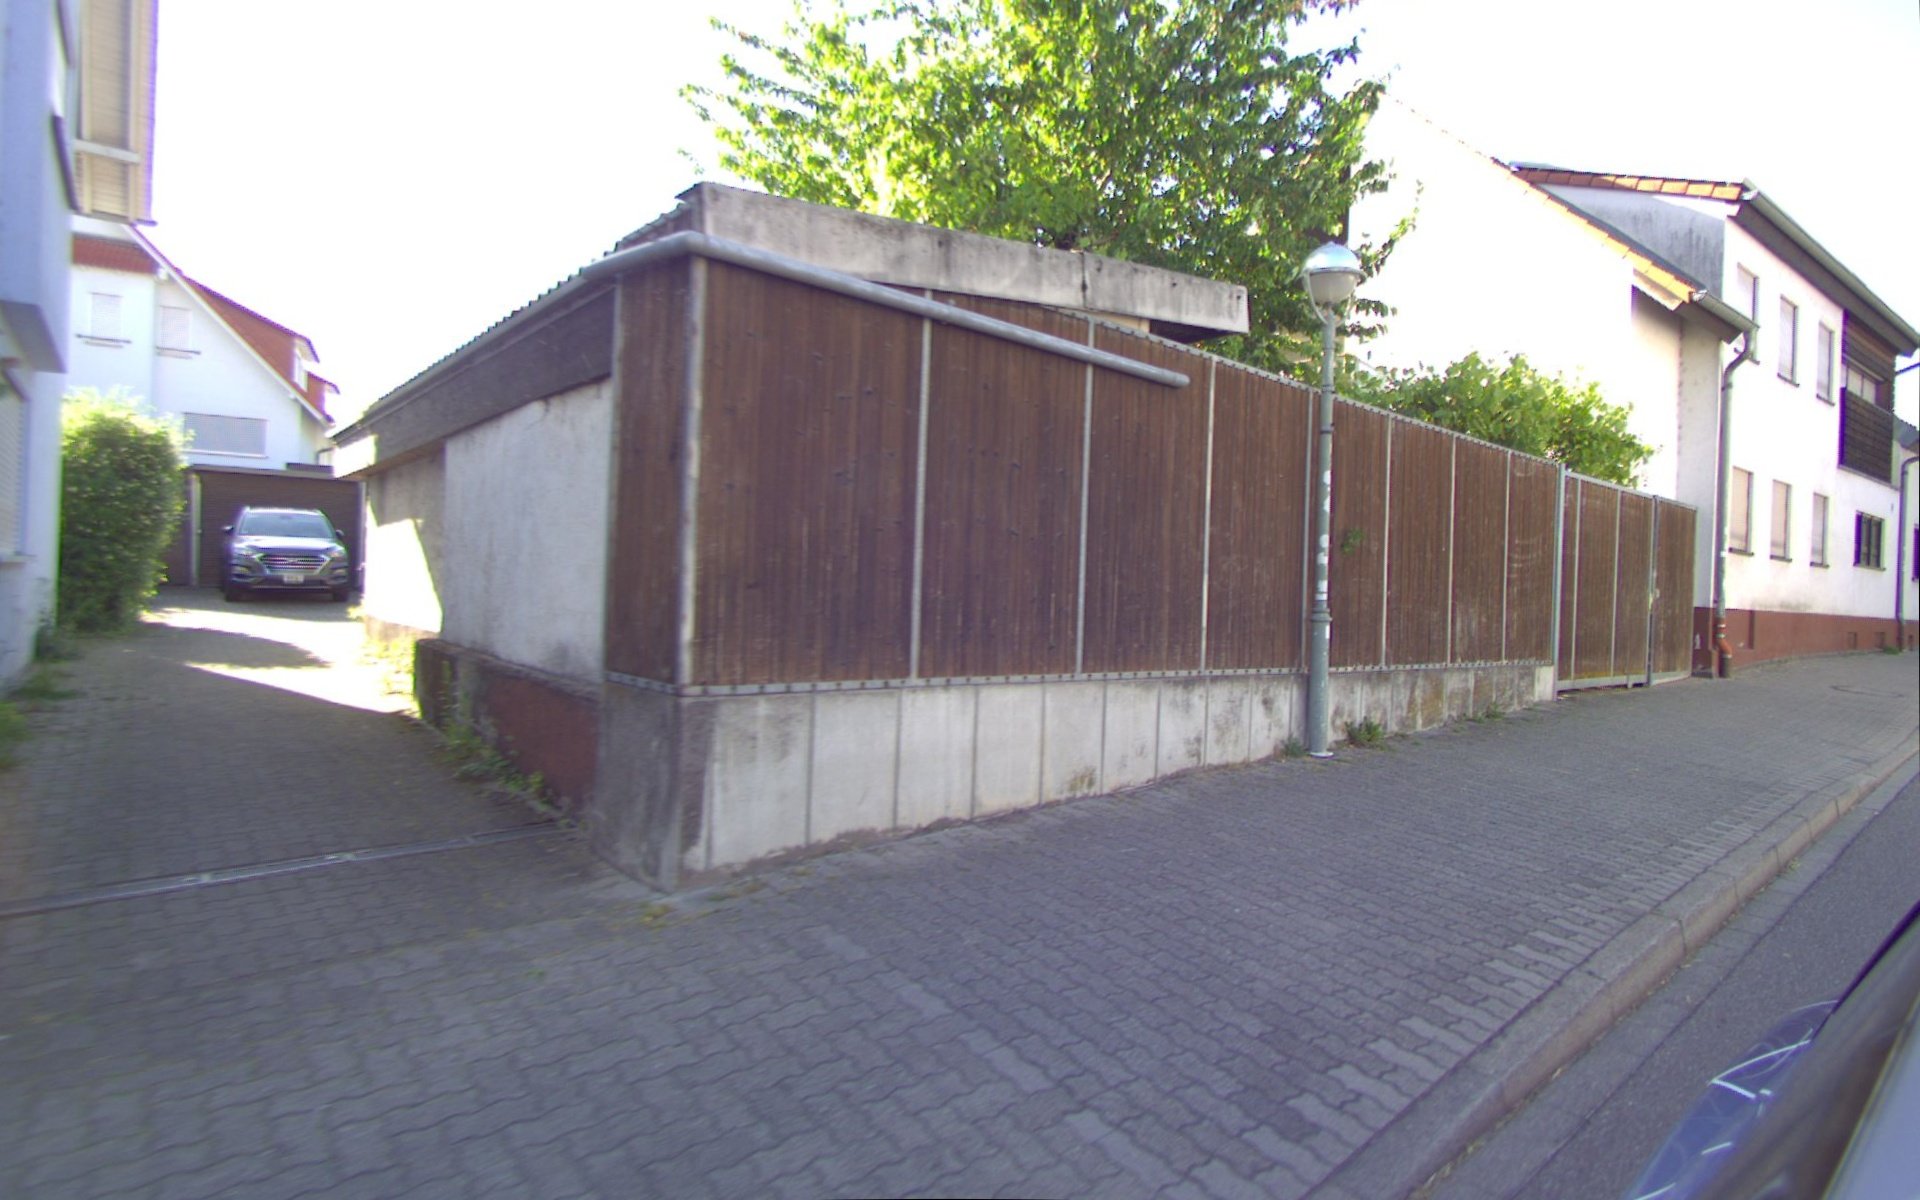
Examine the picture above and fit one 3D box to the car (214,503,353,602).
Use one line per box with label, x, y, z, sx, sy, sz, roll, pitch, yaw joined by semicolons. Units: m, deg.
car;-12.564;-0.942;18.693;1.787;1.611;4.115;-1;5;-39
